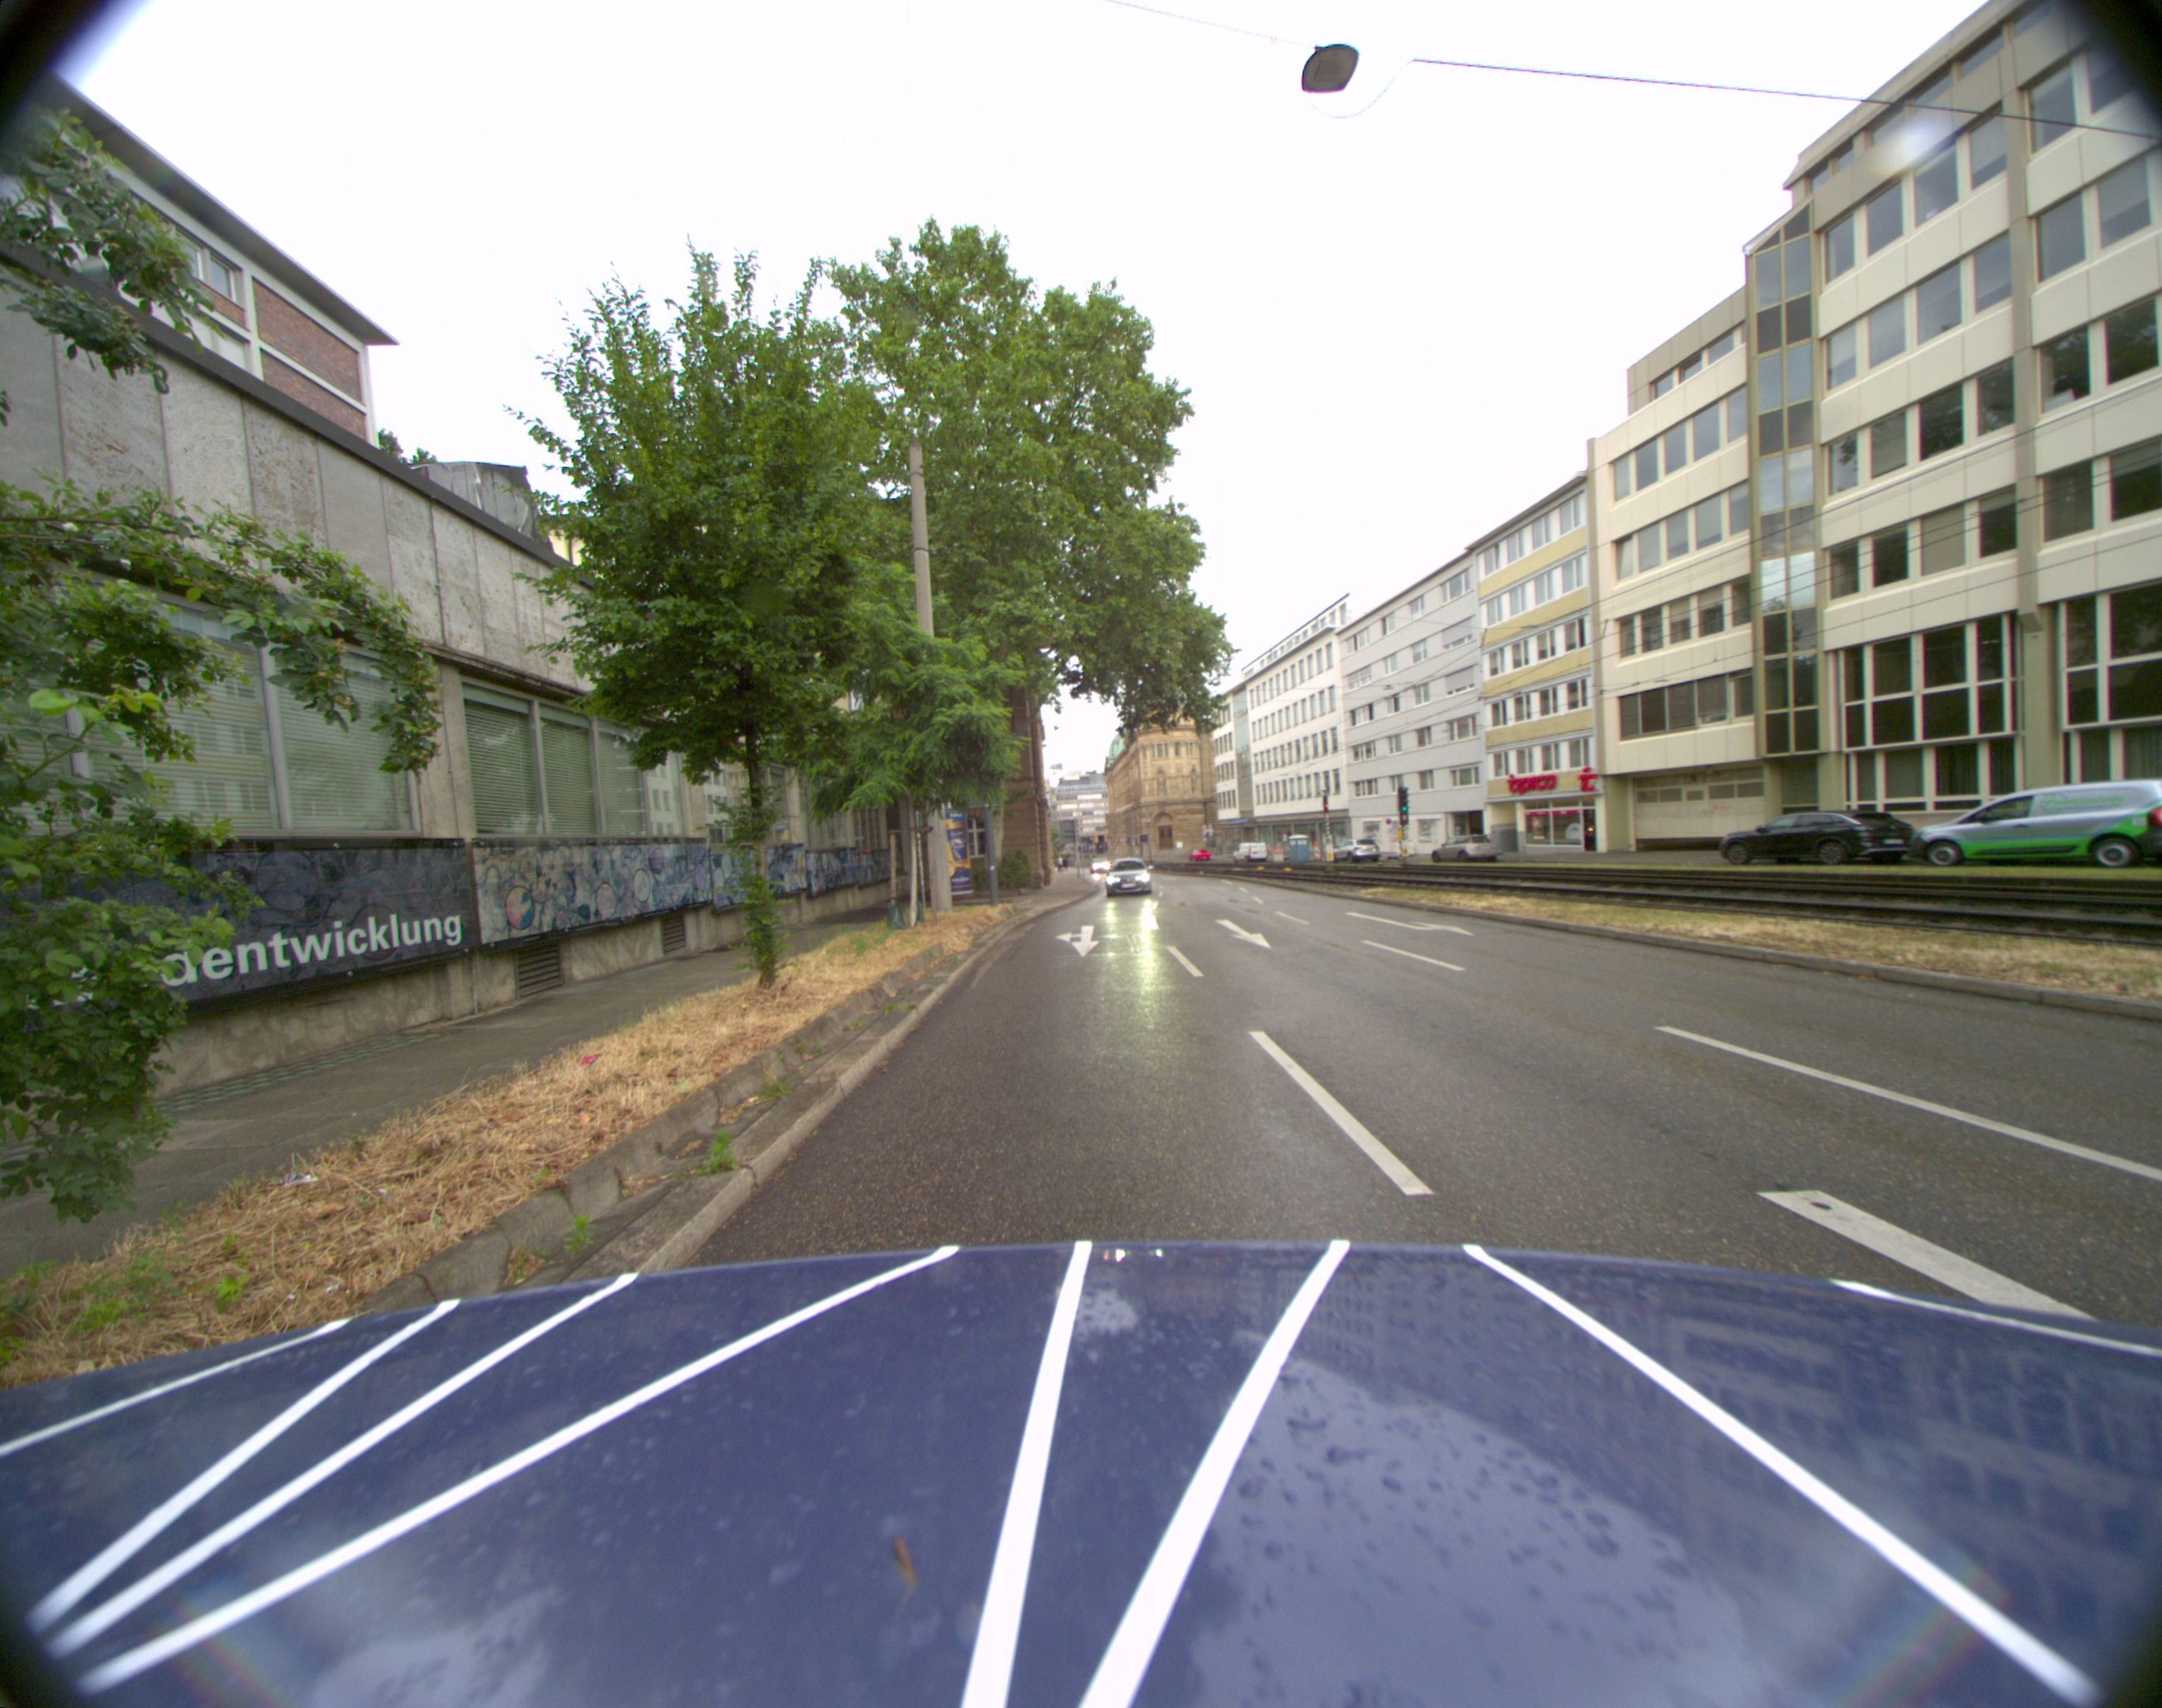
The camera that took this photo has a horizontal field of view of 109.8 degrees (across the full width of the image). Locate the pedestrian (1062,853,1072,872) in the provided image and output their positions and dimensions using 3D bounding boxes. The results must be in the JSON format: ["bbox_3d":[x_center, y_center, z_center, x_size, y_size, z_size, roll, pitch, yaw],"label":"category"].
[{"bbox_3d":[-1.283,0.765,69.943,0.719,1.630,0.760,-5,2,10],"label":"pedestrian"}]

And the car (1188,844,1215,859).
[{"bbox_3d":[14.555,-0.354,92.111,1.890,1.615,4.474,-5,1,-7],"label":"car"}]

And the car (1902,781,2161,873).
[{"bbox_3d":[21.508,-0.577,16.810,1.801,1.736,4.213,-5,1,-8],"label":"car"}]

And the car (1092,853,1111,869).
[{"bbox_3d":[1.968,0.698,73.728,1.654,1.426,3.439,-2,1,0],"label":"car"}]

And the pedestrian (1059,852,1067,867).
[{"bbox_3d":[-2.001,0.634,84.724,0.719,1.630,0.760,-5,2,1],"label":"pedestrian"}]

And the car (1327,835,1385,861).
[{"bbox_3d":[18.173,-0.411,50.452,1.890,1.505,4.075,-5,1,-7],"label":"car"}]

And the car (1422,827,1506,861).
[{"bbox_3d":[19.496,-0.489,38.908,1.801,1.505,4.075,-5,1,-7],"label":"car"}]

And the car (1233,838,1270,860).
[{"bbox_3d":[16.332,-0.491,72.955,1.890,1.924,4.474,-5,1,-7],"label":"car"}]

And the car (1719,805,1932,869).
[{"bbox_3d":[21.071,-0.461,21.772,1.801,1.505,4.075,-5,1,-7],"label":"car"}]

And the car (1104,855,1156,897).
[{"bbox_3d":[1.920,0.830,30.956,1.811,1.426,4.297,-3,1,0],"label":"car"}]
